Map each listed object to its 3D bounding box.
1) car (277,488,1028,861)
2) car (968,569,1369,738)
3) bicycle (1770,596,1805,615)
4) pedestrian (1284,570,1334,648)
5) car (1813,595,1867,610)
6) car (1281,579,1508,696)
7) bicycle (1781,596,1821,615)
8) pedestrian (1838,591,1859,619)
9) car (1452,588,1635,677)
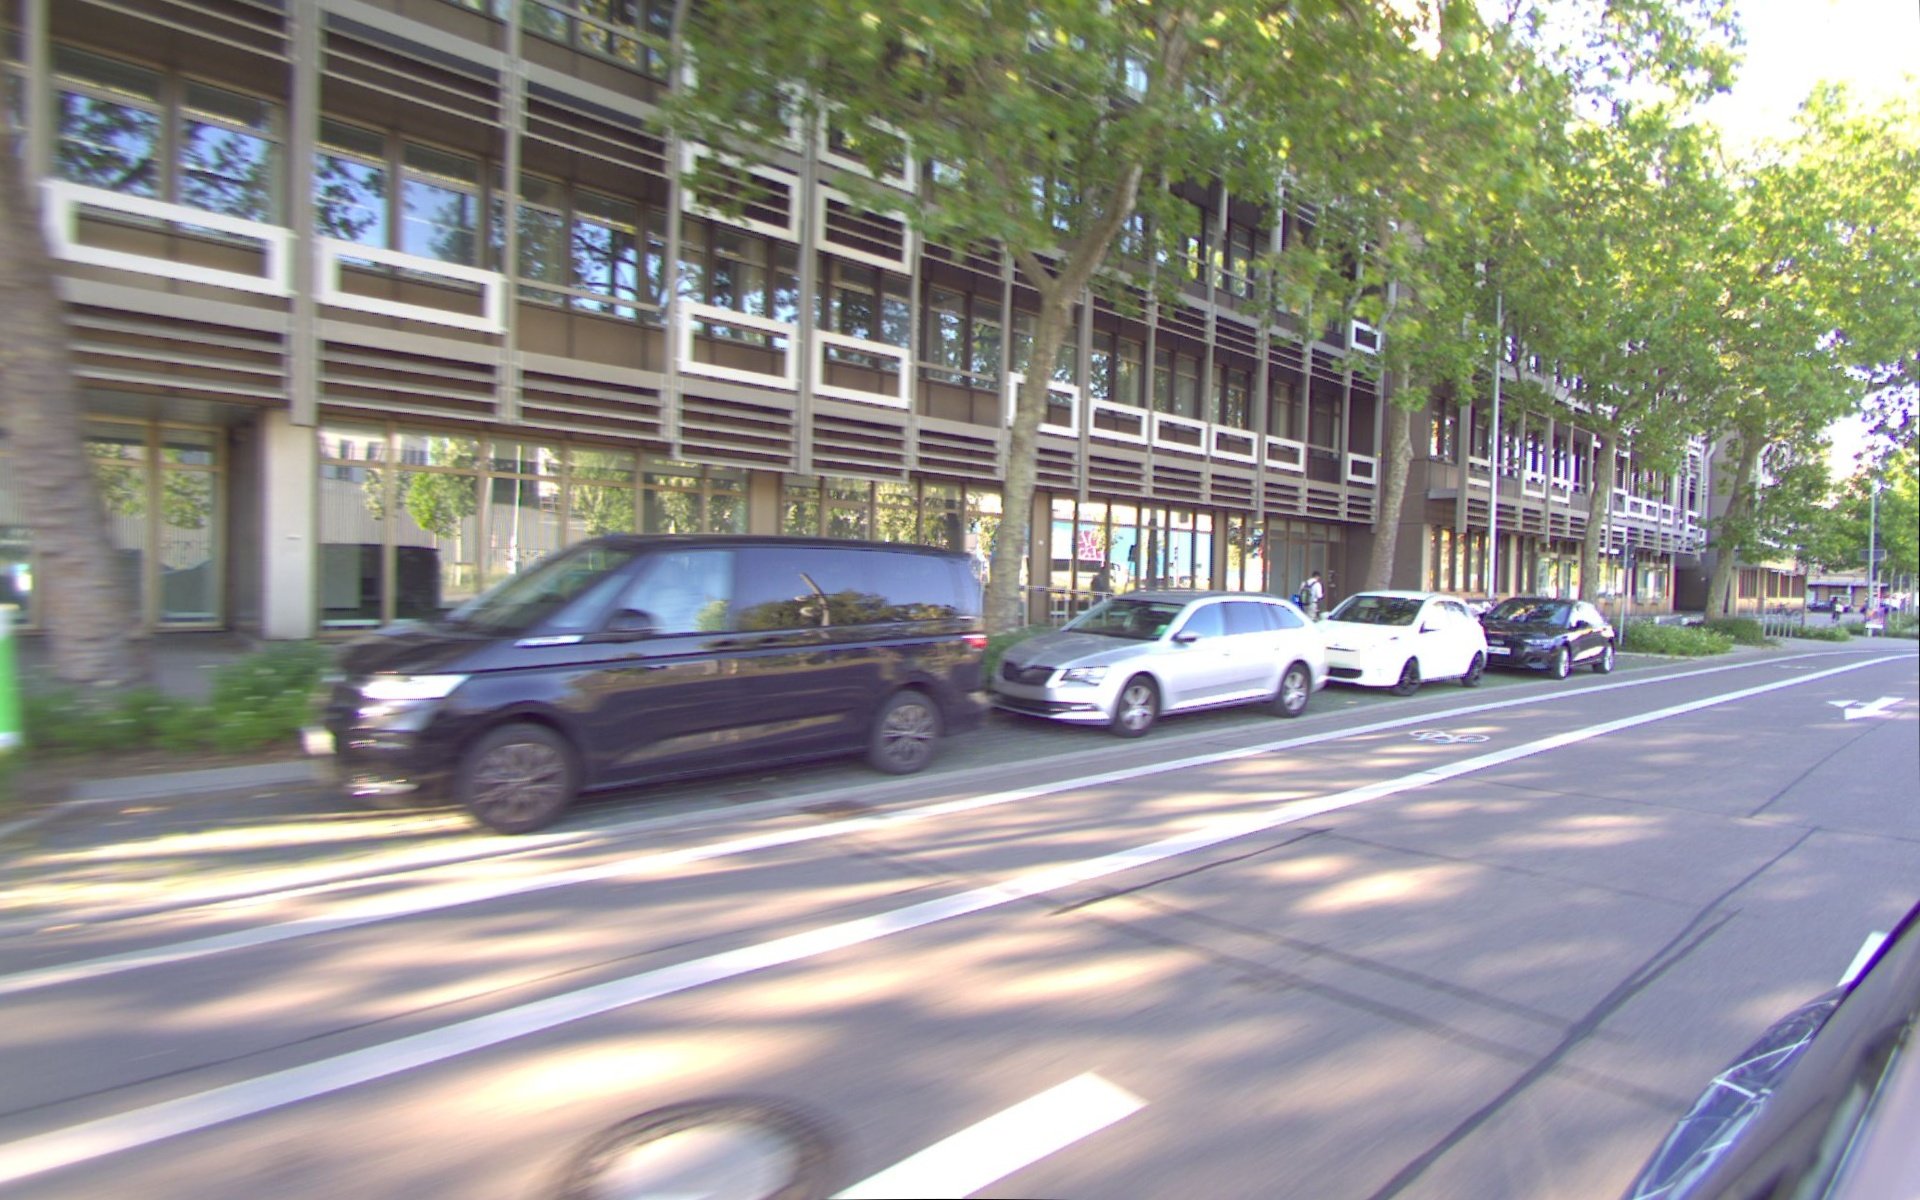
[{"bbox_3d":[-2.000,0.345,7.817,5.229,1.994,1.833,0,4,-42],"label":"car"},{"bbox_3d":[2.593,0.510,11.809,4.965,1.532,1.687,1,4,-38],"label":"car"},{"bbox_3d":[51.609,0.357,63.125,0.385,1.095,1.630,1,2,-41],"label":"bicycle"},{"bbox_3d":[8.638,0.212,25.073,0.832,1.879,0.833,1,1,-42],"label":"pedestrian"},{"bbox_3d":[95.807,0.273,110.224,4.248,1.467,1.840,2,2,35],"label":"car"},{"bbox_3d":[6.803,0.509,15.697,3.806,1.496,1.685,0,4,-41],"label":"car"},{"bbox_3d":[53.539,0.362,64.432,1.899,1.106,0.386,4,3,42],"label":"bicycle"},{"bbox_3d":[54.565,0.293,62.156,1.118,1.668,0.790,0,2,-43],"label":"pedestrian"},{"bbox_3d":[11.235,0.558,19.378,4.201,1.435,1.710,0,4,-41],"label":"car"}]
